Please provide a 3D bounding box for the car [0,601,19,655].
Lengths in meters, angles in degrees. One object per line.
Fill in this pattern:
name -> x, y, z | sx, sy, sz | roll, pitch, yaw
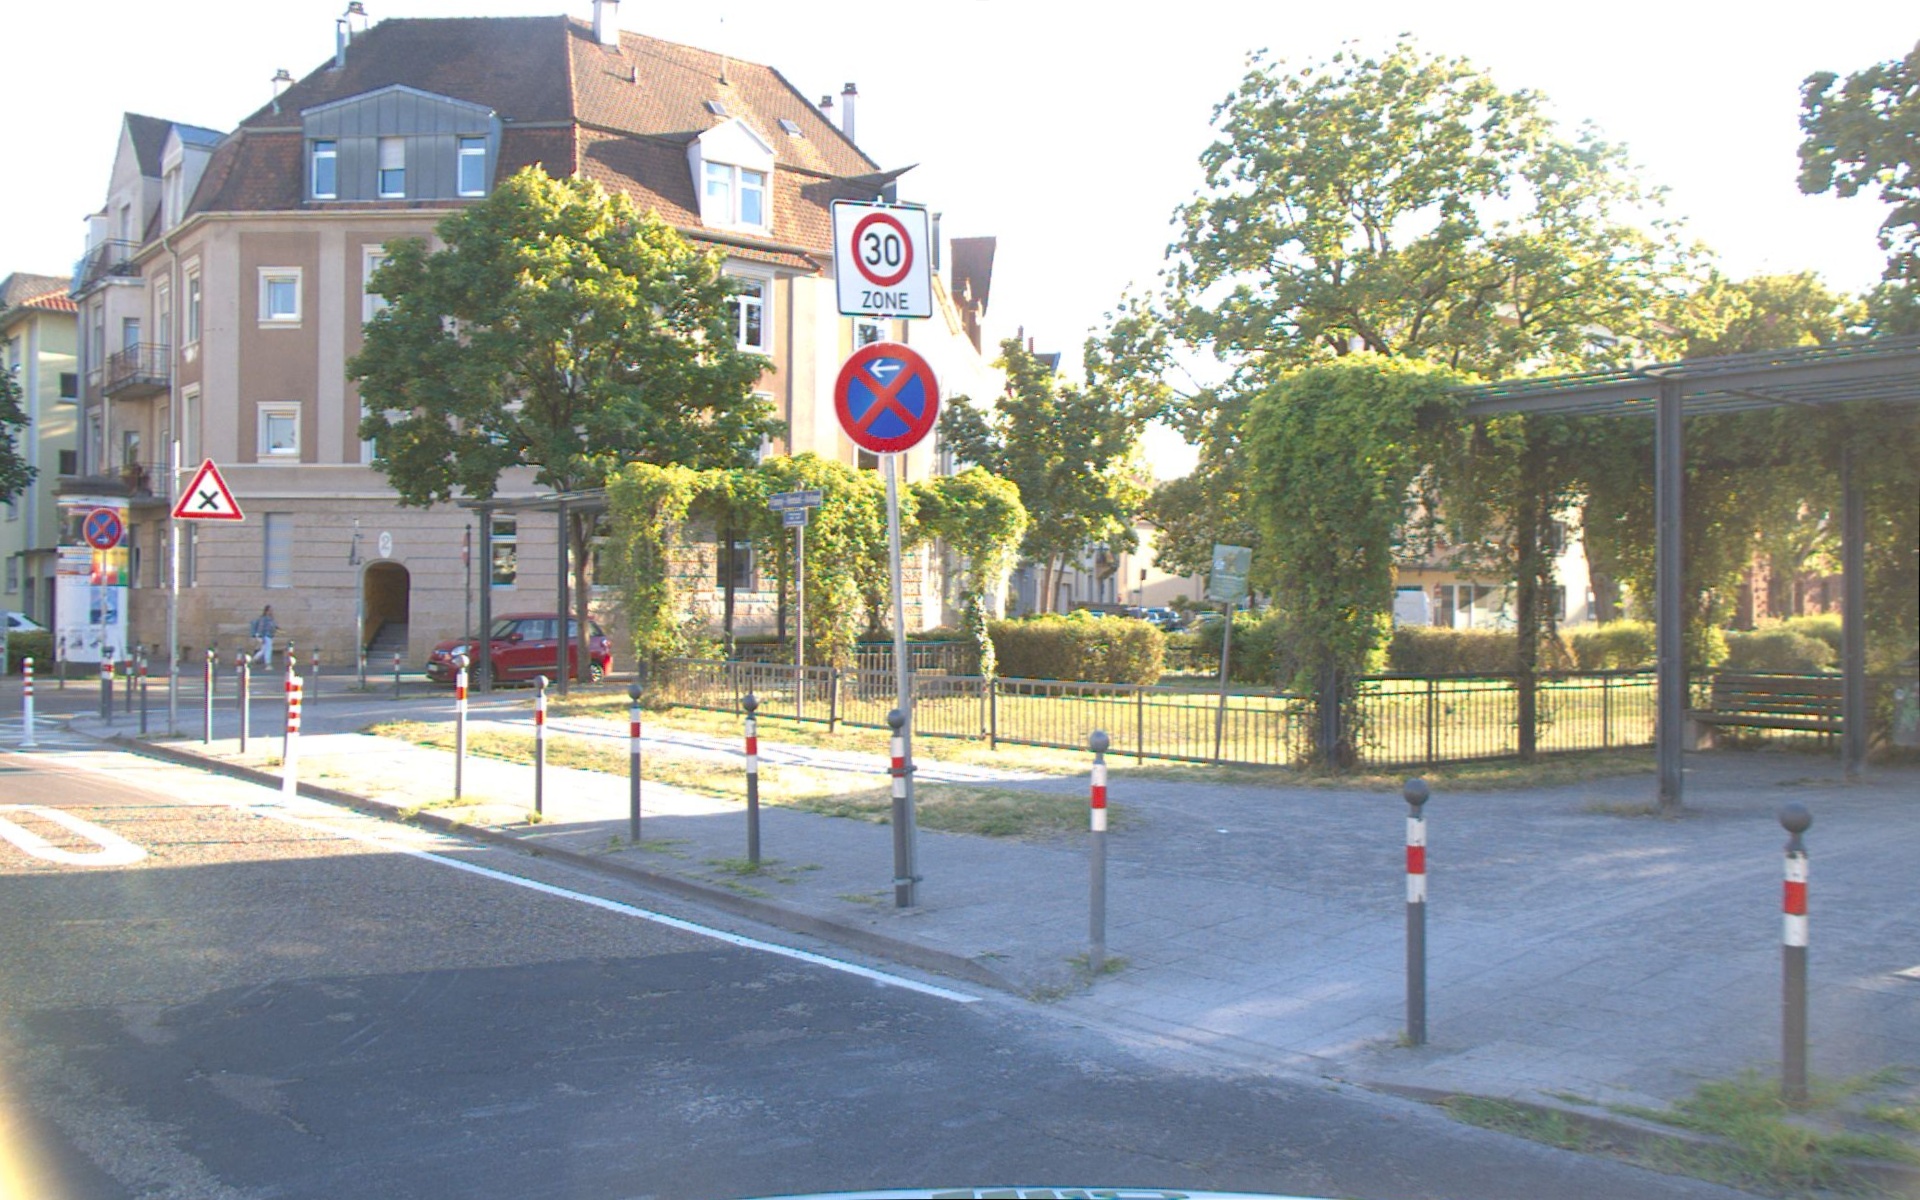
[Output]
car -> -32.150, 0.892, 51.721 | 4.500, 1.669, 1.846 | 0, 0, -41

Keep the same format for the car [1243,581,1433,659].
car -> 13.926, 0.716, 60.970 | 6.531, 2.793, 2.317 | 0, -1, 22

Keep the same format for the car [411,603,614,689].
car -> -10.064, 0.997, 37.291 | 4.046, 1.771, 1.787 | 1, 1, -38

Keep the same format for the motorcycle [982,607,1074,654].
motorcycle -> 2.224, 1.029, 54.618 | 3.170, 1.513, 0.849 | -1, -2, 40

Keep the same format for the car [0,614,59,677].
car -> -24.854, 1.135, 41.148 | 4.025, 1.532, 1.834 | 0, 0, -41

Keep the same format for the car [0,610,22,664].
car -> -27.905, 1.045, 44.827 | 4.119, 1.473, 1.648 | -1, 0, -41

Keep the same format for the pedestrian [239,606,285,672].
pedestrian -> -17.238, 0.954, 40.855 | 0.803, 1.571, 0.741 | 3, 1, -7

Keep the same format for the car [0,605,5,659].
car -> -29.709, 0.937, 46.663 | 1.921, 1.552, 4.460 | 1, 2, 44
